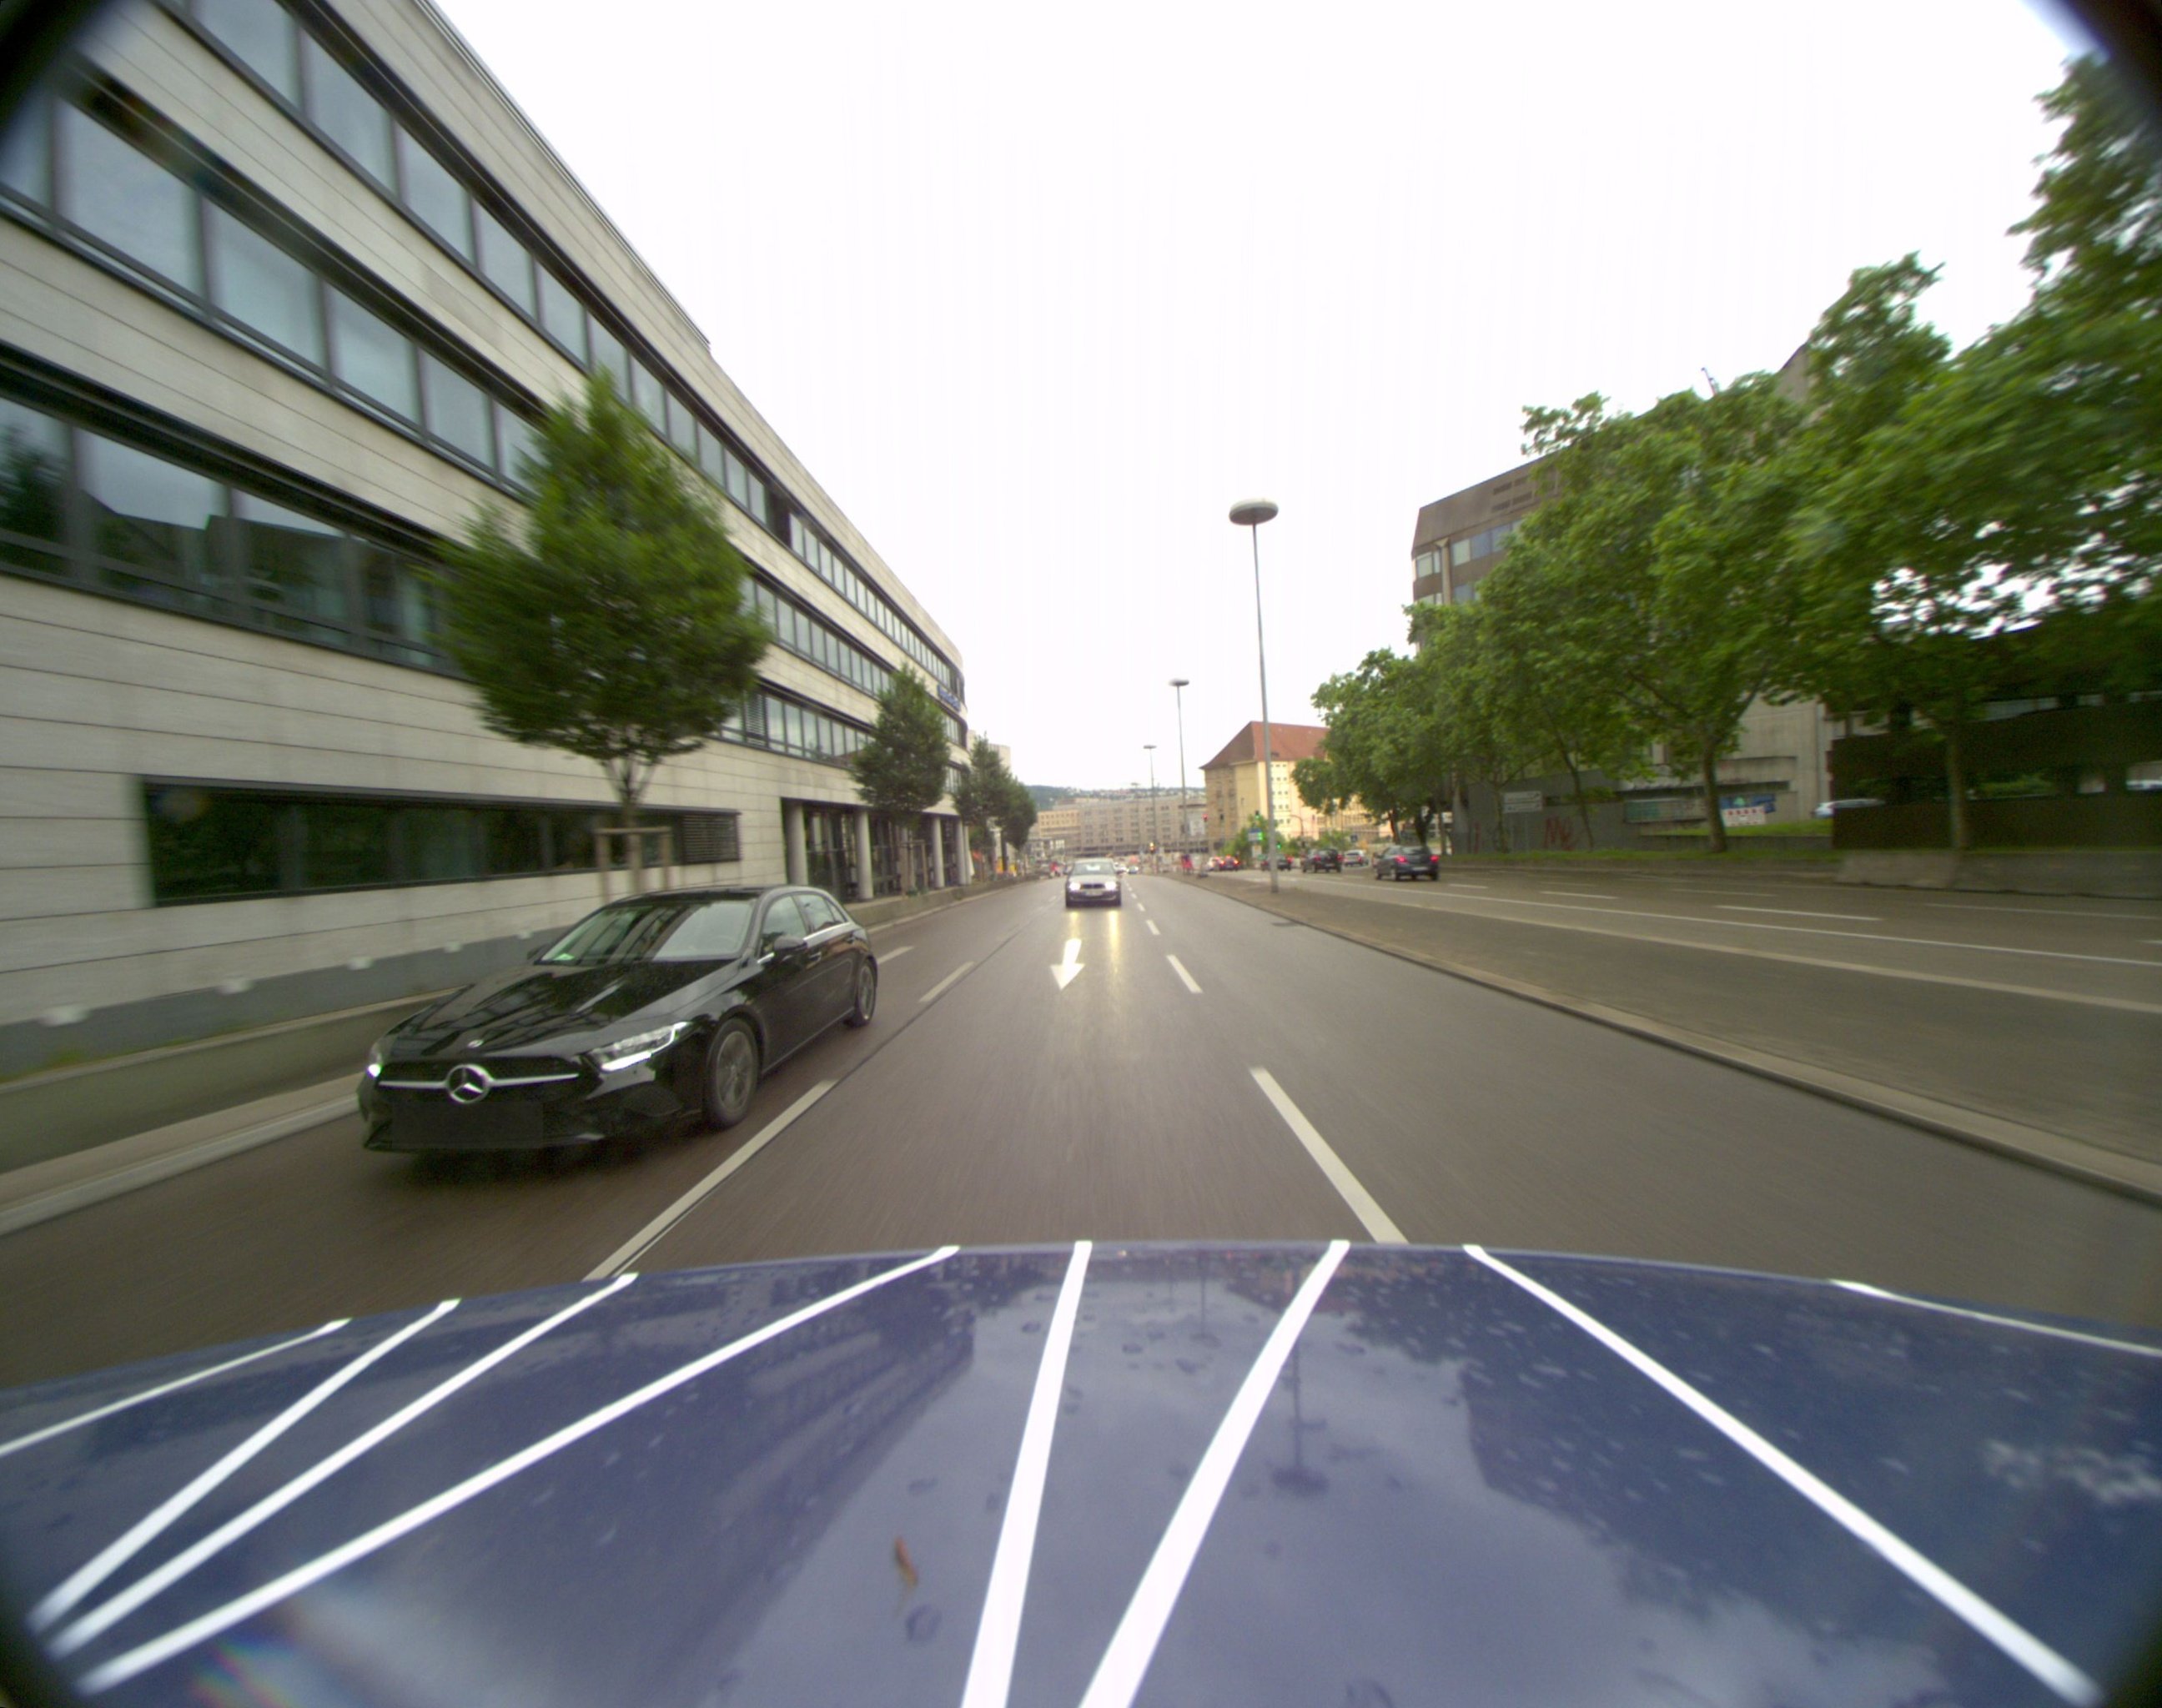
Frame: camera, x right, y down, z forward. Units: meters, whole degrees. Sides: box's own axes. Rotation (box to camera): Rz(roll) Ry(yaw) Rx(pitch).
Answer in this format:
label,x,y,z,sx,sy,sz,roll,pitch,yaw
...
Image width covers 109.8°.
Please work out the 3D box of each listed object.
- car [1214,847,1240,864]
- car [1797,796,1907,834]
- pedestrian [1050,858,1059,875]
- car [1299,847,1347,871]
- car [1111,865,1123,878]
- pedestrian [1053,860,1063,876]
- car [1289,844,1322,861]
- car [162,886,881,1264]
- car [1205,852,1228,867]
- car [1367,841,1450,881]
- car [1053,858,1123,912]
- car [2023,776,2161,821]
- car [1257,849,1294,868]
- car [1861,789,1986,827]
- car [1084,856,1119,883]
label,x,y,z,sx,sy,sz,roll,pitch,yaw
car,13.540,0.121,70.629,1.798,1.477,3.864,-3,0,2
car,40.663,-2.013,40.183,3.989,1.707,2.004,-2,1,44
pedestrian,-3.072,1.473,88.317,0.992,1.936,0.767,-2,1,4
car,15.213,0.305,47.906,1.938,1.428,4.077,-2,0,4
car,6.362,3.060,134.120,1.998,2.002,4.001,-2,0,5
pedestrian,-2.661,1.638,89.332,0.765,1.936,0.995,-2,1,21
car,21.707,-0.176,73.654,1.938,1.491,4.507,-3,0,2
car,-3.020,1.066,5.435,1.877,1.428,4.206,-3,0,2
car,13.748,0.538,77.272,1.798,1.477,3.864,-2,0,2
car,13.319,0.290,31.175,1.937,1.491,4.175,-2,-1,6
car,0.312,0.892,23.253,1.862,1.428,4.206,-1,0,4
car,46.640,-2.503,34.797,1.999,1.707,3.999,-2,0,-1
car,15.657,0.356,61.368,1.938,1.428,4.507,-2,0,2
car,44.978,-2.417,40.676,3.990,1.707,2.003,-3,0,27
car,1.185,0.851,43.277,1.863,1.449,4.206,-1,0,2
